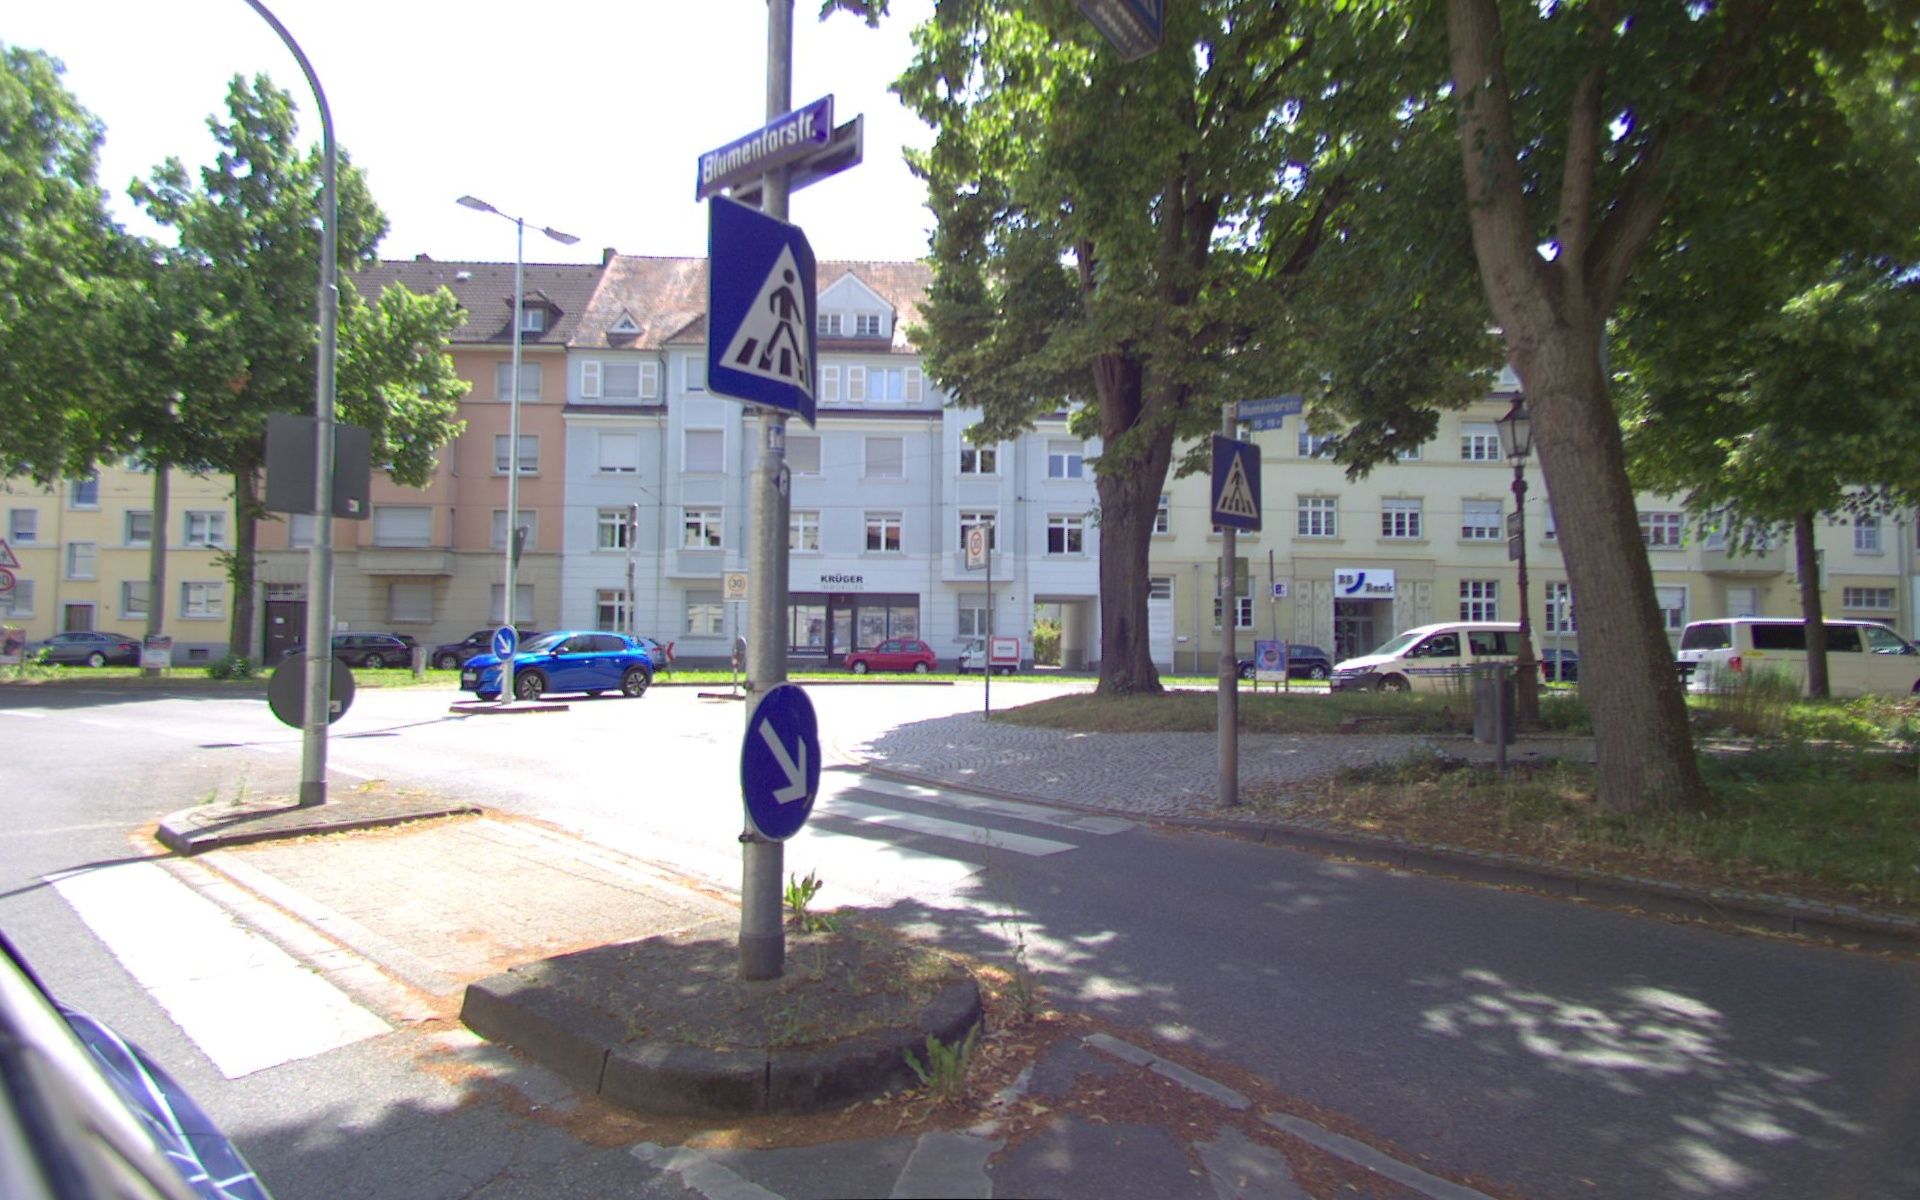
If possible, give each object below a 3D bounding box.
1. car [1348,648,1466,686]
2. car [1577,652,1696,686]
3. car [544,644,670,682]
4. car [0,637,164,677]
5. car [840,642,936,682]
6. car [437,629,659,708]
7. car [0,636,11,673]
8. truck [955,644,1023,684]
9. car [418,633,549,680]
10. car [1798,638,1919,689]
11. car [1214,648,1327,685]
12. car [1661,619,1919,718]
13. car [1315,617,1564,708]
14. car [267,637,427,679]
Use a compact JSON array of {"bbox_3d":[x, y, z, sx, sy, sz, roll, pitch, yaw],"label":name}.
[{"bbox_3d":[17.375,2.636,39.453,3.801,1.401,1.692,0,-5,-2],"label":"car"},{"bbox_3d":[26.521,2.725,39.765,3.534,1.288,1.607,0,-5,-2],"label":"car"},{"bbox_3d":[-13.432,2.434,38.665,4.188,1.367,1.813,0,-5,-2],"label":"car"},{"bbox_3d":[-33.095,2.175,38.007,4.794,1.409,1.934,0,-5,0],"label":"car"},{"bbox_3d":[-2.740,2.414,38.908,3.573,1.462,1.577,0,-5,-2],"label":"car"},{"bbox_3d":[-8.530,1.386,21.240,1.812,1.503,3.949,-3,-3,37],"label":"car"},{"bbox_3d":[-38.539,2.012,37.958,4.082,1.411,1.837,0,-5,-1],"label":"car"},{"bbox_3d":[1.105,2.505,39.264,2.556,1.506,1.130,1,-5,-3],"label":"truck"},{"bbox_3d":[-18.064,2.179,38.508,4.082,1.698,1.843,0,-5,-2],"label":"car"},{"bbox_3d":[36.238,2.535,39.913,4.702,1.926,1.859,0,-5,-2],"label":"car"},{"bbox_3d":[11.985,2.604,39.190,3.801,1.371,1.692,0,-5,-2],"label":"car"},{"bbox_3d":[18.580,1.479,21.978,5.174,2.018,2.056,0,-3,0],"label":"car"},{"bbox_3d":[10.235,1.339,21.853,4.358,1.840,2.001,0,-3,-2],"label":"car"},{"bbox_3d":[-23.072,2.215,38.240,4.792,1.502,1.934,0,-5,-2],"label":"car"}]
